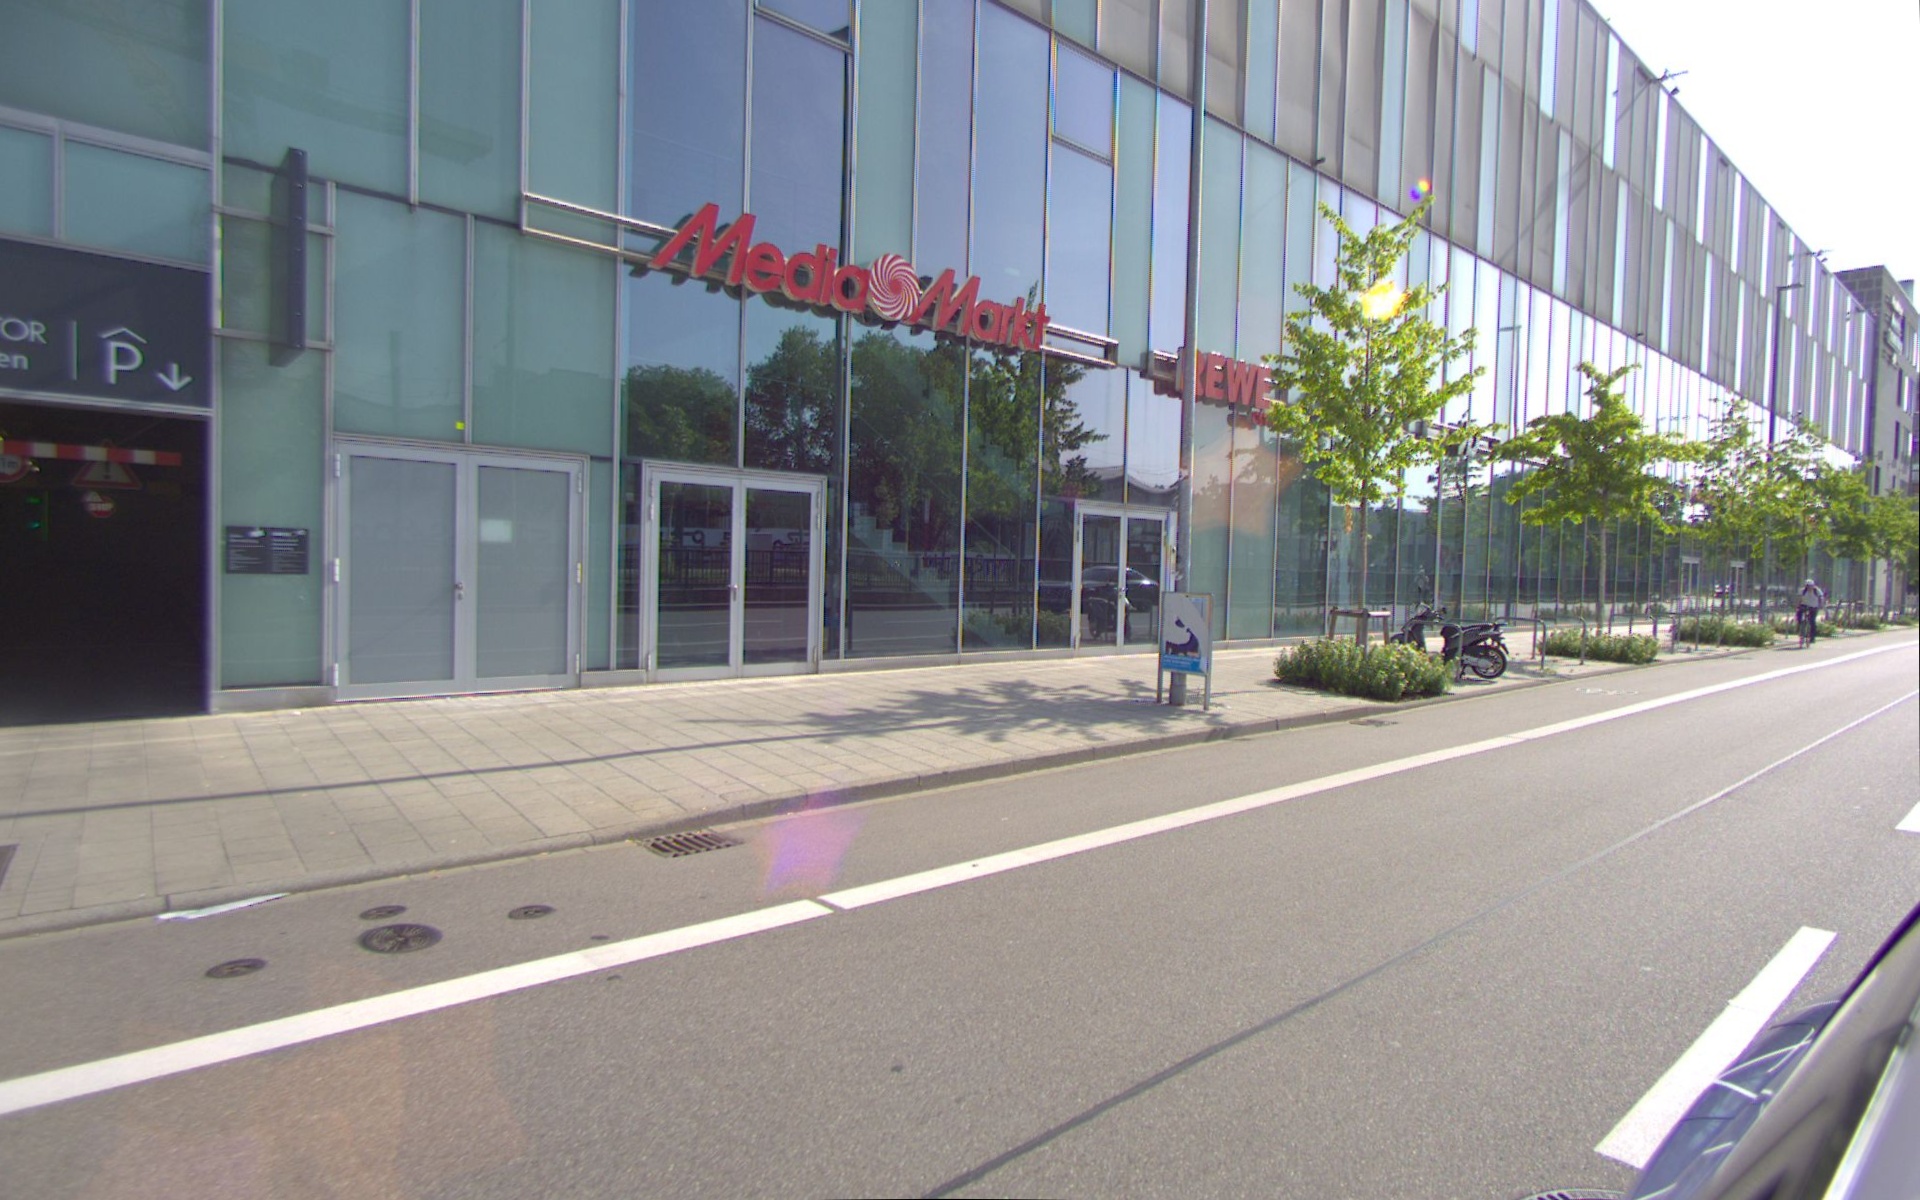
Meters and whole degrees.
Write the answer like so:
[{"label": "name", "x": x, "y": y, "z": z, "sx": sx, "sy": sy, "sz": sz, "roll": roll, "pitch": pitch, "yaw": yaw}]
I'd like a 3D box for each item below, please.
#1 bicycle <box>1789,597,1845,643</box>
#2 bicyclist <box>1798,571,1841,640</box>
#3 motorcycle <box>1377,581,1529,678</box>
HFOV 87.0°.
[{"label": "bicycle", "x": 22.276, "y": 0.492, "z": 26.288, "sx": 2.013, "sy": 1.131, "sz": 0.663, "roll": 0, "pitch": 2, "yaw": -38}, {"label": "bicyclist", "x": 22.436, "y": 0.137, "z": 26.404, "sx": 0.755, "sy": 1.770, "sz": 0.653, "roll": 0, "pitch": 2, "yaw": -37}, {"label": "motorcycle", "x": 7.747, "y": 0.416, "z": 15.949, "sx": 1.967, "sy": 1.366, "sz": 0.855, "roll": 3, "pitch": 3, "yaw": 40}]
